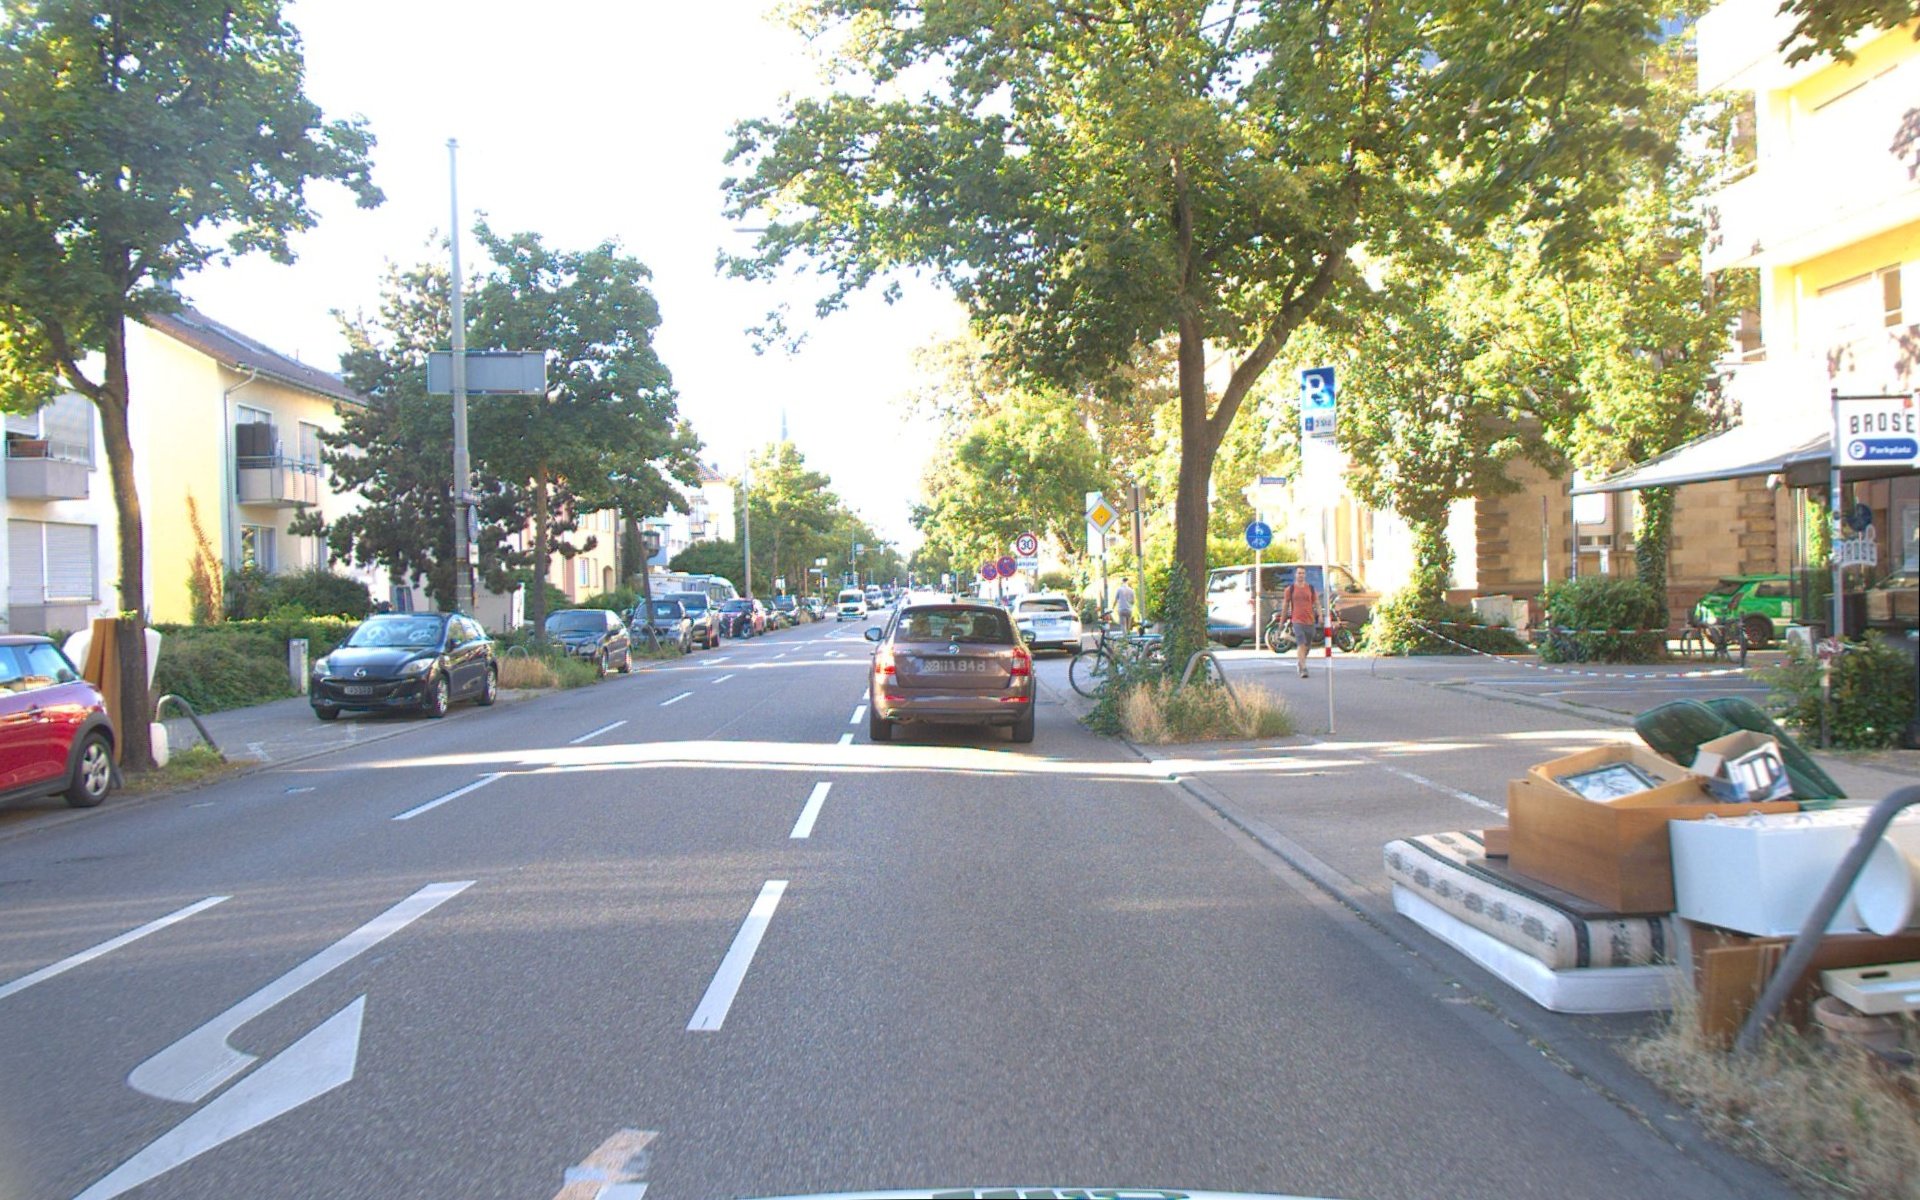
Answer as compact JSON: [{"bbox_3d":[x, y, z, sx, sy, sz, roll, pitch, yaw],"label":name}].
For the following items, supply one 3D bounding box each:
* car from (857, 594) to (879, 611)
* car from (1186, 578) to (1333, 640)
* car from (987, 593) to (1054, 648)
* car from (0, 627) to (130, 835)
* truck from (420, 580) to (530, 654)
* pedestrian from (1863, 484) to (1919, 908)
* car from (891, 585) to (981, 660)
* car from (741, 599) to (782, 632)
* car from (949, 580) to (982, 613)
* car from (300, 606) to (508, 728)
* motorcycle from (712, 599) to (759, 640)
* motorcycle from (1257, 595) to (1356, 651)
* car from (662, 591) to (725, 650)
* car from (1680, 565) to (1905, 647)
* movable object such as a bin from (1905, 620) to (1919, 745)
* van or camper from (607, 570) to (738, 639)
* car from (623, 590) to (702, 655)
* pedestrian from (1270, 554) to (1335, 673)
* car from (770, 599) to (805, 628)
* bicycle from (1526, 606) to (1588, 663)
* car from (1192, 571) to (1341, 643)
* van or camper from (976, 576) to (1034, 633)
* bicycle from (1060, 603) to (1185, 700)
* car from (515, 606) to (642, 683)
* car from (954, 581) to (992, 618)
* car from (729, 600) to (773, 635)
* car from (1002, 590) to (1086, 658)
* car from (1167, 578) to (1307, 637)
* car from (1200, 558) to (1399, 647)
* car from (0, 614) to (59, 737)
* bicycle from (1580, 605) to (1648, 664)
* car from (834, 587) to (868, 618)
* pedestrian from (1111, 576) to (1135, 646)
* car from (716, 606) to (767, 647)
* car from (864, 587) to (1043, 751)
[{"bbox_3d":[-8.801,0.220,158.052,1.953,1.534,3.999,-2,0,-1],"label":"car"},{"bbox_3d":[8.202,0.225,45.270,3.749,1.552,1.501,-2,0,-24],"label":"car"},{"bbox_3d":[1.701,0.544,47.619,1.783,1.437,4.111,-1,1,0],"label":"car"},{"bbox_3d":[-7.803,0.996,12.003,1.682,1.445,3.785,-1,1,-1],"label":"car"},{"bbox_3d":[-14.618,0.494,49.954,2.855,2.130,1.545,-1,1,-2],"label":"truck"},{"bbox_3d":[3.886,0.326,6.017,1.047,1.502,0.476,-2,0,-21],"label":"pedestrian"},{"bbox_3d":[-0.588,0.458,37.009,1.696,1.520,3.947,-1,1,-5],"label":"car"},{"bbox_3d":[-9.466,0.710,78.930,1.631,1.457,3.274,-1,1,-2],"label":"car"},{"bbox_3d":[0.300,-0.223,98.789,1.695,1.846,3.948,-1,1,-3],"label":"car"},{"bbox_3d":[-8.051,0.913,24.367,1.682,1.523,4.247,-1,1,-1],"label":"car"},{"bbox_3d":[-8.652,0.731,63.767,0.761,1.538,1.997,-2,1,-44],"label":"motorcycle"},{"bbox_3d":[7.474,0.491,35.668,2.012,1.144,0.525,-2,0,-7],"label":"motorcycle"},{"bbox_3d":[-8.572,0.636,53.422,1.476,1.788,3.692,-1,1,-2],"label":"car"},{"bbox_3d":[17.810,0.103,35.497,3.838,1.612,1.929,-1,1,-1],"label":"car"},{"bbox_3d":[7.756,0.639,12.771,0.600,0.966,0.539,-1,0,-1],"label":"movable object such as a bin"},{"bbox_3d":[-17.304,0.240,99.700,7.489,3.942,1.999,-1,0,-4],"label":"van or camper"},{"bbox_3d":[-8.726,0.620,48.750,1.715,1.771,3.590,-1,1,-1],"label":"car"},{"bbox_3d":[5.428,0.204,26.246,0.741,1.827,0.905,-1,0,-6],"label":"pedestrian"},{"bbox_3d":[-9.456,0.719,90.620,1.631,1.457,3.274,-1,1,-2],"label":"car"},{"bbox_3d":[10.467,0.598,29.030,0.335,0.967,1.579,1,0,-7],"label":"bicycle"},{"bbox_3d":[7.920,0.162,42.646,3.762,1.708,1.496,-2,1,-32],"label":"car"},{"bbox_3d":[1.670,0.147,63.034,1.953,2.049,3.999,-1,1,-1],"label":"van or camper"},{"bbox_3d":[2.303,0.724,23.393,1.635,1.247,0.636,-4,0,11],"label":"bicycle"},{"bbox_3d":[-8.102,0.901,35.511,1.718,1.445,4.425,-1,1,-1],"label":"car"},{"bbox_3d":[0.653,-0.071,86.305,1.695,1.846,3.948,-1,1,-3],"label":"car"},{"bbox_3d":[-9.380,0.749,74.388,1.631,1.457,3.274,-1,1,-2],"label":"car"},{"bbox_3d":[1.926,0.521,39.138,1.783,1.437,4.111,-1,1,0],"label":"car"},{"bbox_3d":[7.948,0.204,47.386,3.749,1.552,1.501,-2,0,-24],"label":"car"},{"bbox_3d":[8.085,0.028,39.268,4.484,1.926,1.896,-2,0,-29],"label":"car"},{"bbox_3d":[-13.927,0.963,20.958,3.909,1.505,1.998,-1,1,-5],"label":"car"},{"bbox_3d":[11.240,0.583,28.466,0.335,0.967,1.579,-4,0,-7],"label":"bicycle"},{"bbox_3d":[-6.655,0.118,101.099,1.839,1.788,4.177,-1,1,-2],"label":"car"},{"bbox_3d":[4.332,0.284,44.008,0.524,1.825,0.687,-1,0,0],"label":"pedestrian"},{"bbox_3d":[-9.027,1.092,68.709,1.630,1.538,4.177,-1,1,-2],"label":"car"},{"bbox_3d":[-0.081,0.646,17.921,1.694,1.520,3.950,-1,1,-1],"label":"car"}]
